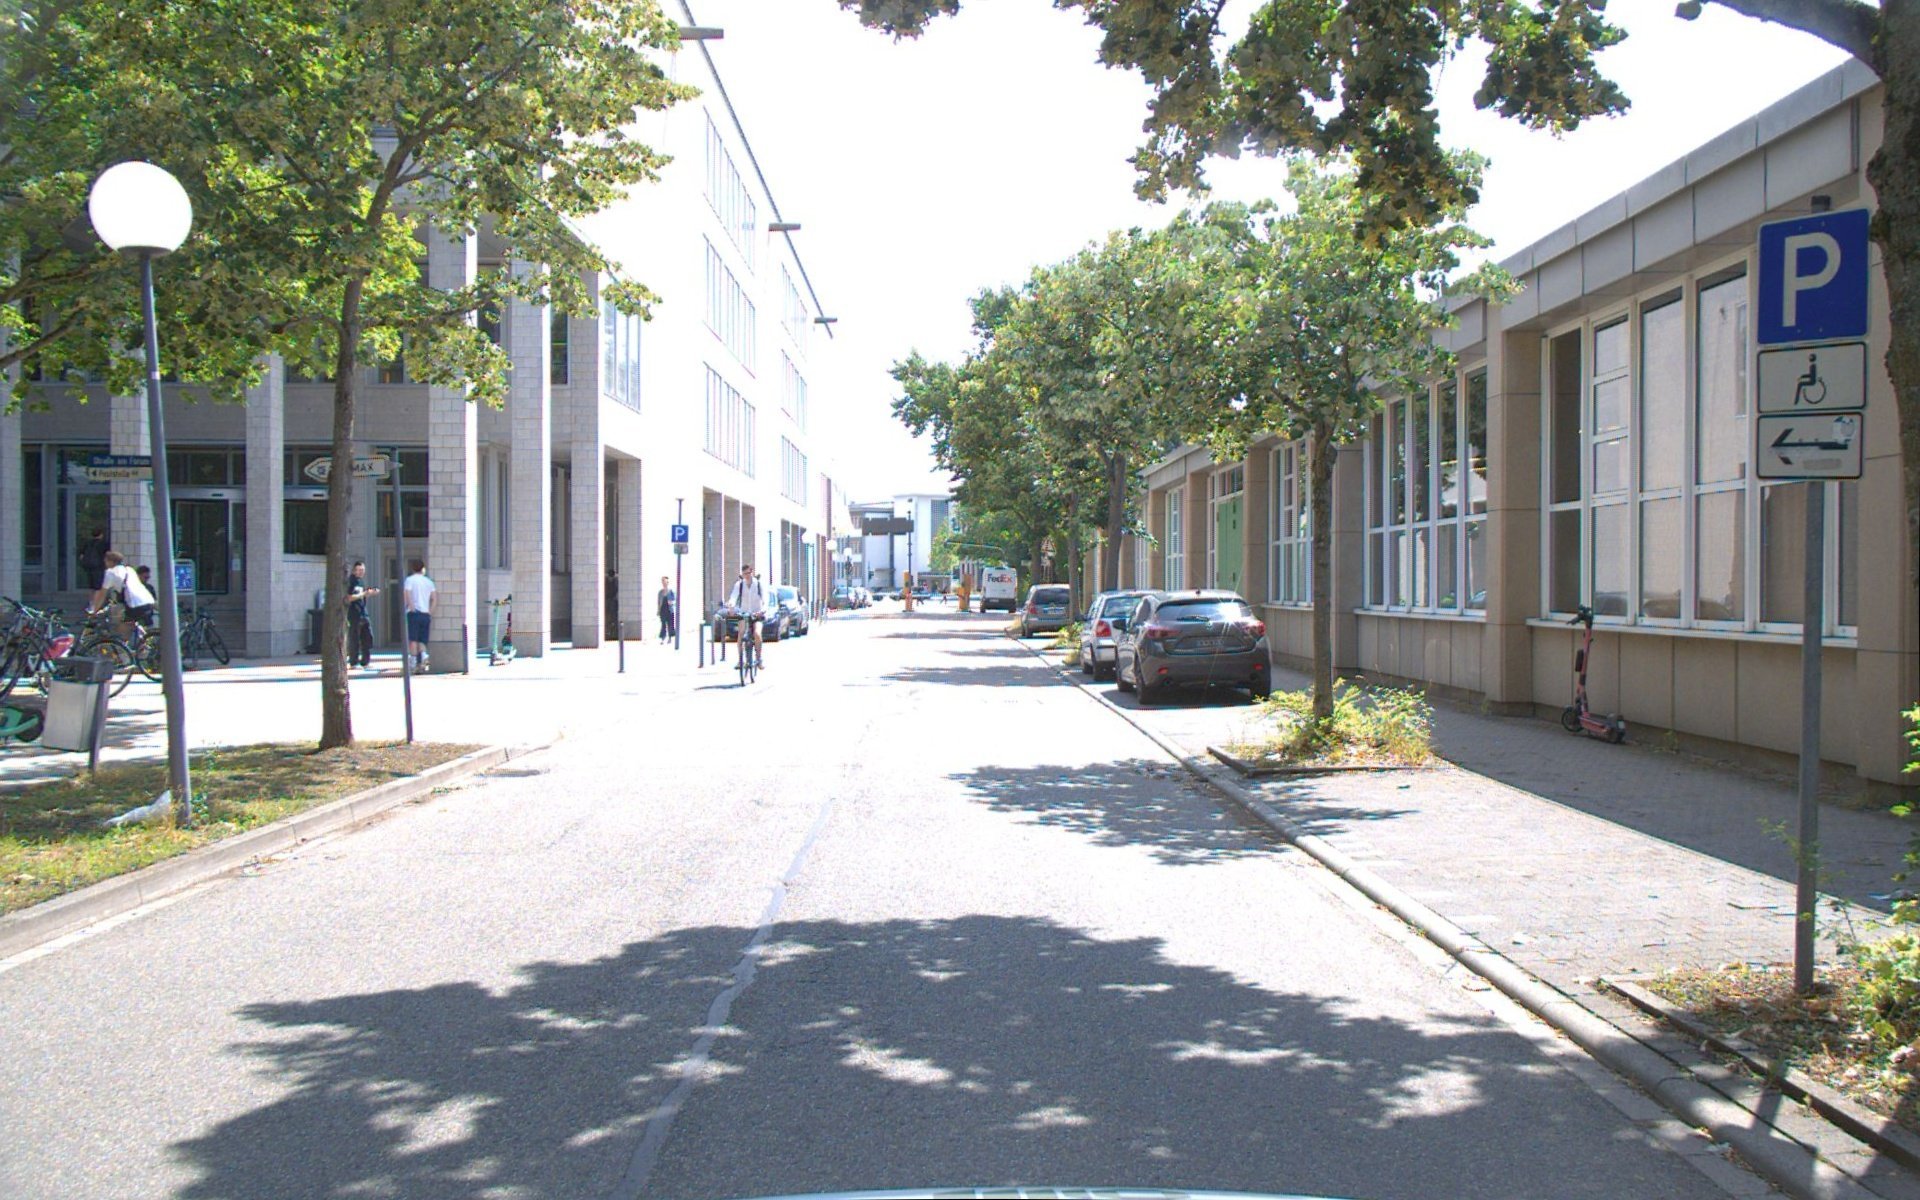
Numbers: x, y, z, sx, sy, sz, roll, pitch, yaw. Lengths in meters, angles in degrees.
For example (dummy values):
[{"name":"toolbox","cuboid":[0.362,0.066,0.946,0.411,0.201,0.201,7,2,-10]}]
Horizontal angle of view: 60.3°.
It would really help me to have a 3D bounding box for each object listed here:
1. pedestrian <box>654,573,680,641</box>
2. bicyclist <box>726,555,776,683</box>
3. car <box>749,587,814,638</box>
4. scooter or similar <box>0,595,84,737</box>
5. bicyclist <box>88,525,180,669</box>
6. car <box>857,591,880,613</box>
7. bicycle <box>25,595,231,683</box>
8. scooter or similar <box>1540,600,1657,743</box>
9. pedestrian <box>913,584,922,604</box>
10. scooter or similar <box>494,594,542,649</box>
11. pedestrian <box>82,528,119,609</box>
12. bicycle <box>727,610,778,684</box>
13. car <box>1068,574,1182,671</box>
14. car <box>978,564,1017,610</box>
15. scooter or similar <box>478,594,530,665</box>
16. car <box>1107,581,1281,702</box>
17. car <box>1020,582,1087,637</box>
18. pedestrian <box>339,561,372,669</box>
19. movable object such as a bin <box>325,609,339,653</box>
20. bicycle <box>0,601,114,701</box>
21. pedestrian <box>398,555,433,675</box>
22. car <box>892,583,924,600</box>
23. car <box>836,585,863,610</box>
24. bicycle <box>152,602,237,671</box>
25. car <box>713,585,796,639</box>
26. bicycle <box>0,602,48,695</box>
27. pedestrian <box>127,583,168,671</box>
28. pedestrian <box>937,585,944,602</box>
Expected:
[{"name":"pedestrian","cuboid":[-7.516,0.180,42.420,0.638,1.731,0.887,0,0,-11]},{"name":"bicyclist","cuboid":[-3.419,0.307,27.160,0.697,2.049,1.018,-1,0,-3]},{"name":"car","cuboid":[-5.560,0.371,51.933,1.597,1.511,4.177,0,0,0]},{"name":"scooter or similar","cuboid":[-8.225,0.561,14.101,0.333,1.196,1.324,1,0,34]},{"name":"bicyclist","cuboid":[-12.002,-0.044,24.060,0.829,2.049,0.877,0,0,10]},{"name":"car","cuboid":[-6.831,0.136,123.796,1.612,1.524,3.727,0,-2,-1]},{"name":"bicycle","cuboid":[-12.093,0.553,24.071,2.682,1.220,0.886,0,0,11]},{"name":"scooter or similar","cuboid":[6.009,0.645,15.624,0.500,1.271,1.485,-1,0,0]},{"name":"pedestrian","cuboid":[-3.561,-0.501,138.221,0.761,1.708,0.504,1,0,0]},{"name":"scooter or similar","cuboid":[-10.063,0.480,37.631,0.521,1.231,1.537,0,0,-38]},{"name":"pedestrian","cuboid":[-18.002,-0.654,34.635,0.627,1.690,0.687,0,0,-31]},{"name":"bicycle","cuboid":[-3.417,0.754,27.320,0.671,1.149,1.888,0,0,-3]},{"name":"car","cuboid":[2.816,0.359,28.853,1.583,1.565,3.779,0,0,0]},{"name":"car","cuboid":[2.154,-0.744,95.232,2.041,2.584,4.315,1,0,-1]},{"name":"scooter or similar","cuboid":[-8.311,0.523,30.193,0.445,1.245,1.549,0,0,3]},{"name":"car","cuboid":[3.193,0.520,23.392,1.744,1.502,4.461,-1,0,-1]},{"name":"car","cuboid":[2.841,0.270,51.134,1.820,1.601,4.000,-1,0,0]},{"name":"pedestrian","cuboid":[-10.289,0.250,28.157,0.436,1.806,0.446,0,0,-31]},{"name":"movable object such as a bin","cuboid":[-13.318,0.656,35.089,0.165,0.910,0.448,0,0,-6]},{"name":"bicycle","cuboid":[-10.952,0.581,19.872,0.540,1.105,1.973,2,0,-1]},{"name":"pedestrian","cuboid":[-9.069,0.248,27.549,0.408,1.975,0.656,1,0,-29]},{"name":"car","cuboid":[-5.572,-0.905,178.970,3.423,1.727,1.438,1,0,-2]},{"name":"car","cuboid":[-7.466,-0.159,111.978,1.612,1.524,3.727,0,-2,-1]},{"name":"bicycle","cuboid":[-12.763,0.592,27.622,0.455,1.032,1.866,1,2,3]},{"name":"car","cuboid":[-5.728,0.317,46.568,1.730,1.452,4.235,0,0,1]},{"name":"bicycle","cuboid":[-11.886,0.592,20.052,0.540,1.105,1.973,2,0,-1]},{"name":"pedestrian","cuboid":[-13.443,0.444,27.359,0.457,1.407,0.443,-1,3,-10]},{"name":"pedestrian","cuboid":[-1.830,-0.608,154.368,0.594,1.647,0.682,1,0,-2]}]
